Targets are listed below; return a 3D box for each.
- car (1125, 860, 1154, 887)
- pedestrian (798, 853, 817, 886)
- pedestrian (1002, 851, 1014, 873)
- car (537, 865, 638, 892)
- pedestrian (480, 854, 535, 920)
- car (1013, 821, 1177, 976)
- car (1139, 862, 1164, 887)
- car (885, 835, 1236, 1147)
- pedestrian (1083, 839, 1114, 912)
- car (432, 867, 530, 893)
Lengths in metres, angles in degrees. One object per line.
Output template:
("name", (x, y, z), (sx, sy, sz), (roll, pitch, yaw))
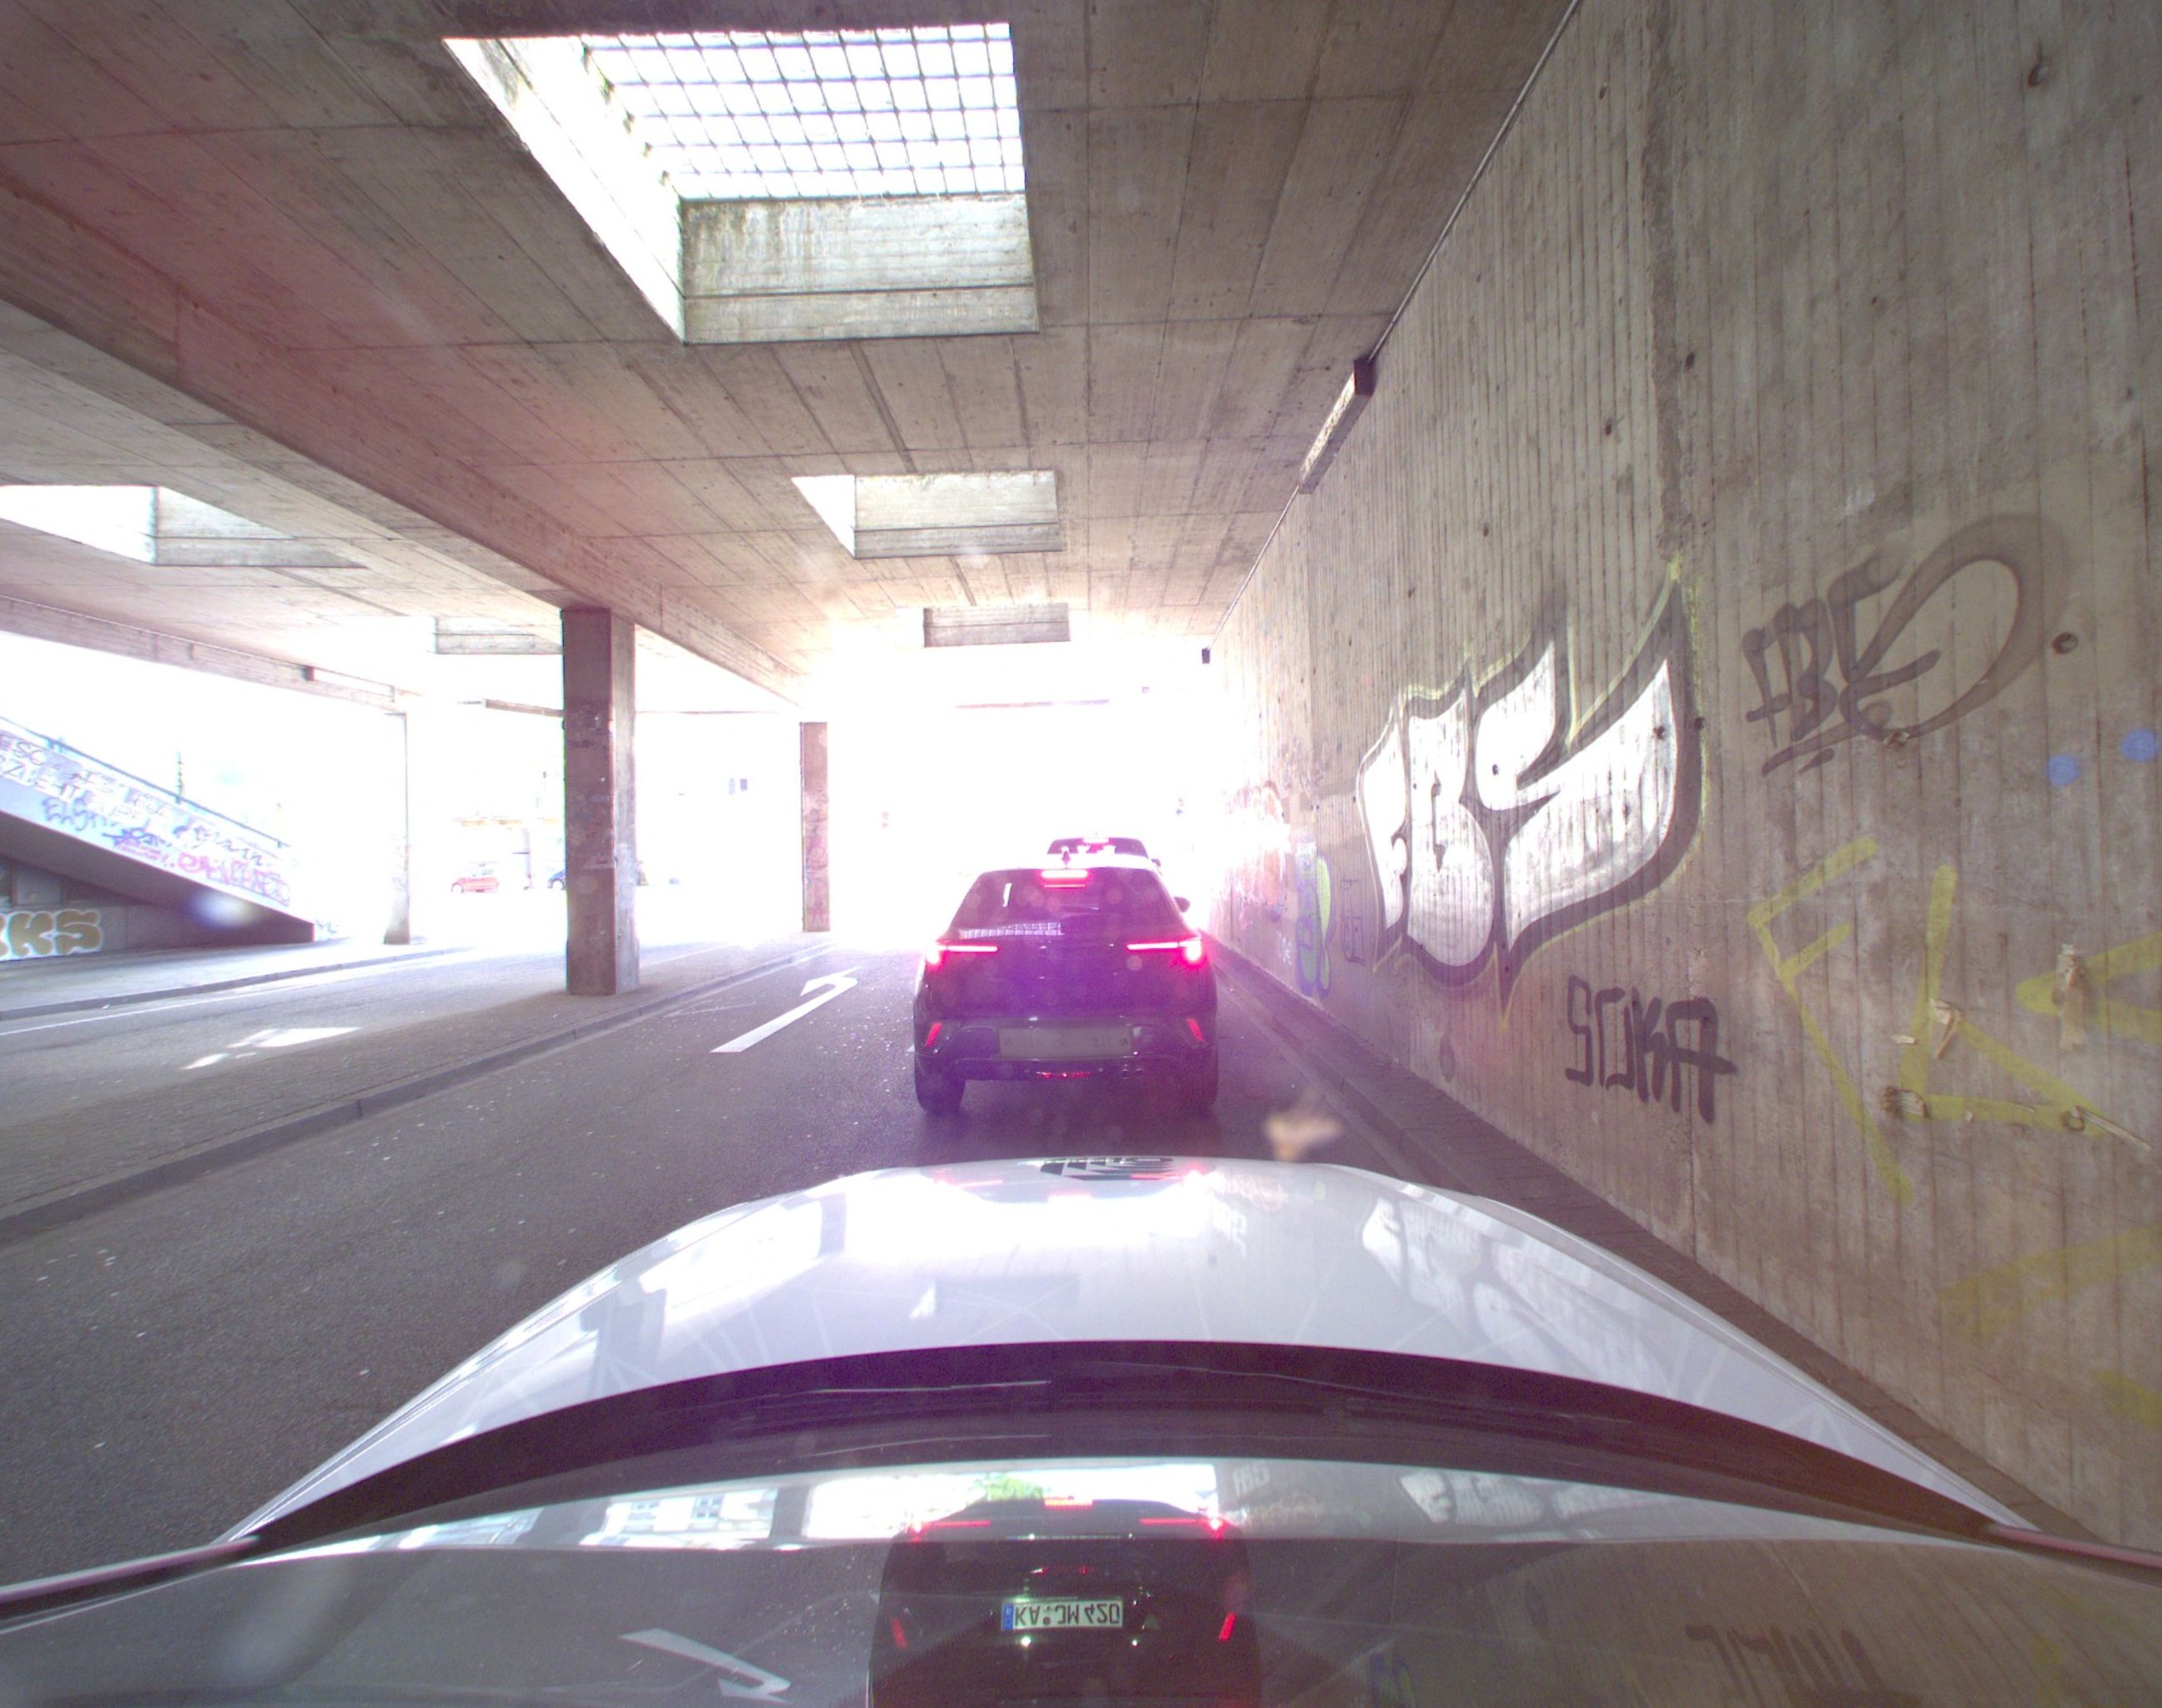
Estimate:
("car", (4.520, 1.446, 62.428), (1.983, 1.970, 4.172), (0, -1, 7))
("pedestrian", (-13.732, 0.757, 40.904), (0.669, 1.637, 0.741), (0, -1, 1))
("pedestrian", (-6.860, 0.771, 76.358), (0.887, 2.088, 0.810), (0, -1, 9))
("car", (-27.296, 1.350, 45.155), (4.393, 1.409, 1.925), (0, -1, -1))
("pedestrian", (-15.584, 0.890, 22.140), (0.925, 1.762, 0.795), (0, -1, 3))
("car", (0.236, 0.545, 12.111), (1.986, 1.871, 4.002), (-2, 0, 2))
("car", (5.944, 1.711, 68.442), (1.983, 1.970, 4.172), (0, -1, 7))
("car", (-0.040, 0.656, 6.112), (1.758, 1.571, 4.002), (0, 1, 2))
("pedestrian", (0.440, 0.520, 19.982), (0.728, 1.734, 0.874), (0, -1, 1))
("car", (-33.276, 1.425, 45.248), (3.975, 1.409, 1.925), (0, -1, -1))
